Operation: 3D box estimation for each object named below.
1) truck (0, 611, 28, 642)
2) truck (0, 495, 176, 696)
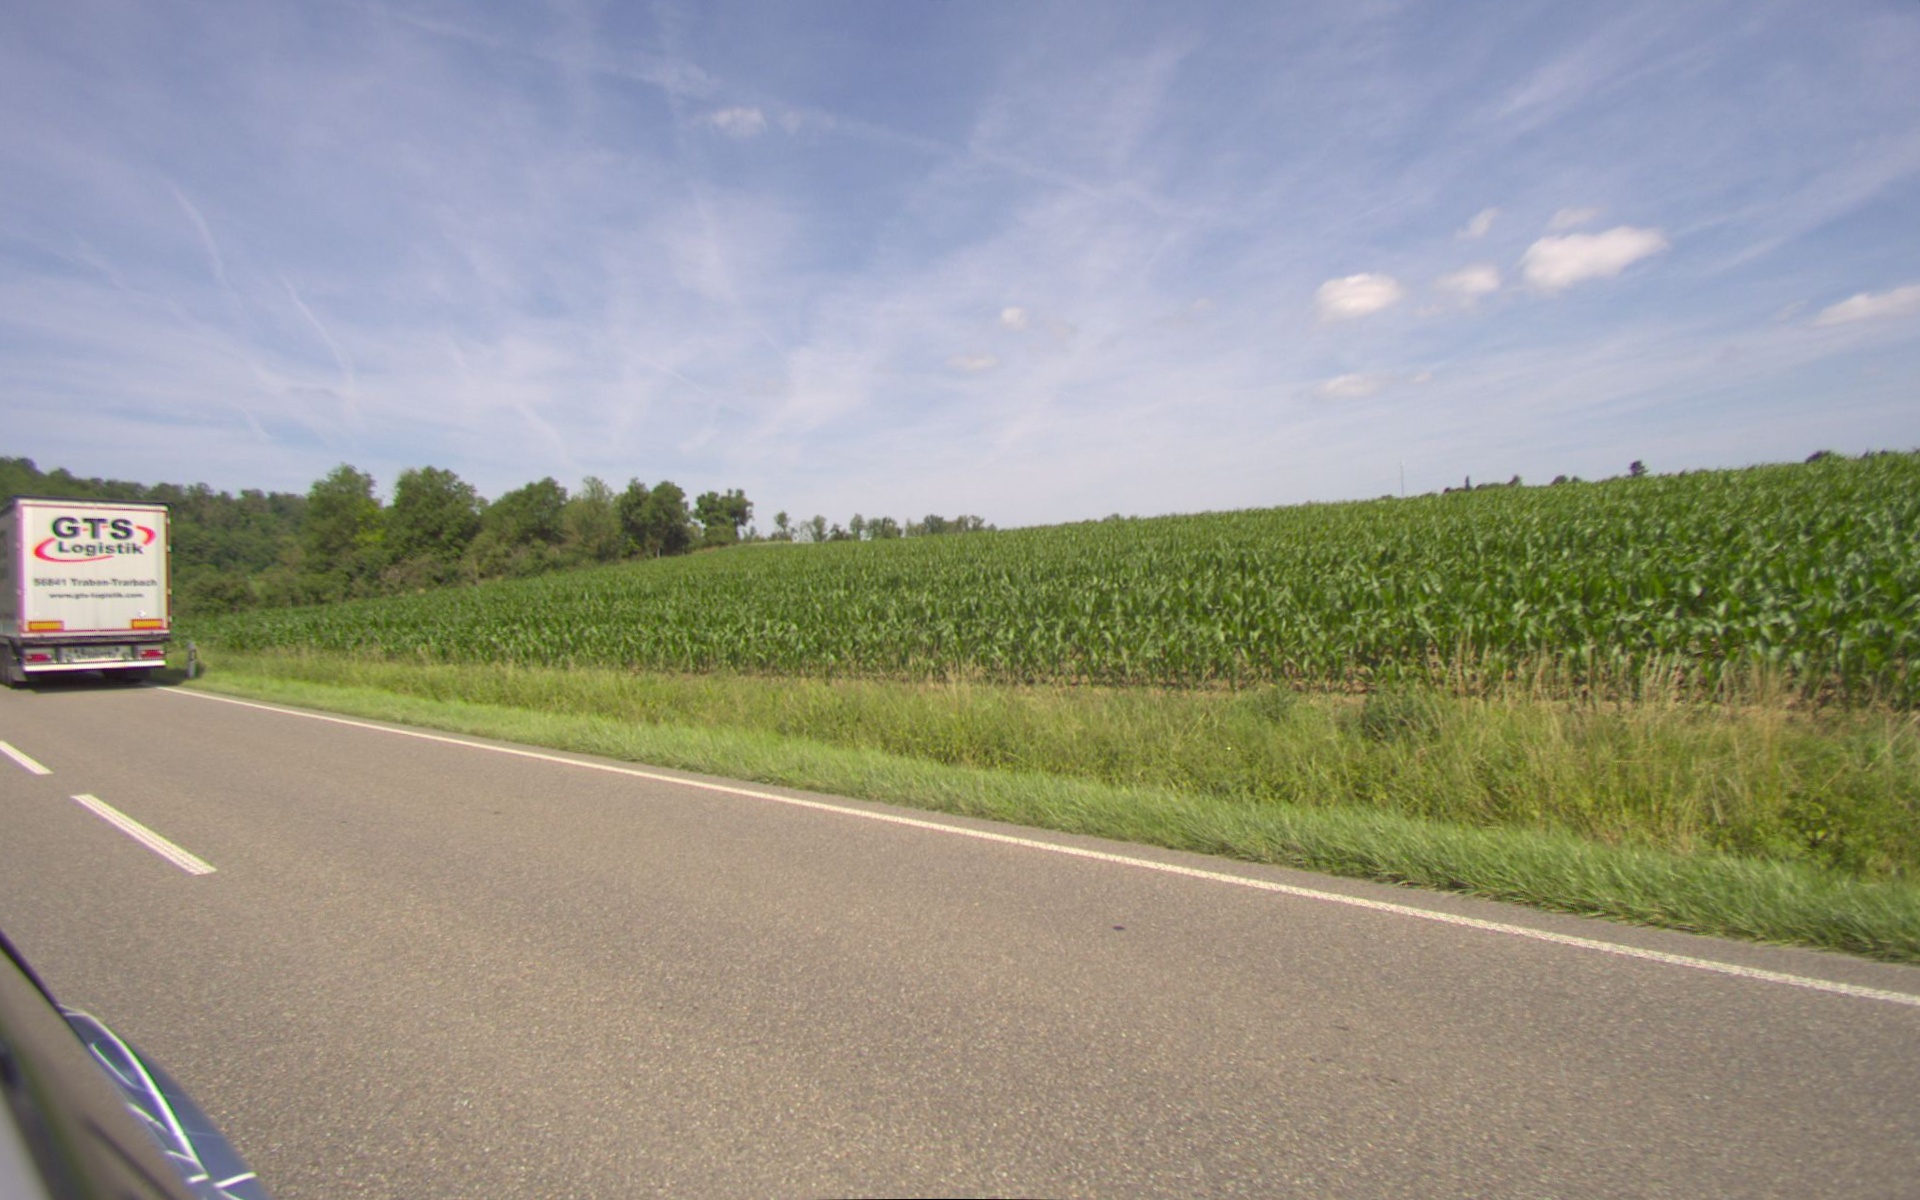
[{"bbox_3d":[-74.379,2.046,79.132,1.985,2.337,5.200,-1,0,-40],"label":"truck"},{"bbox_3d":[-24.308,0.054,26.905,16.531,4.023,2.796,-1,-1,43],"label":"truck"}]
